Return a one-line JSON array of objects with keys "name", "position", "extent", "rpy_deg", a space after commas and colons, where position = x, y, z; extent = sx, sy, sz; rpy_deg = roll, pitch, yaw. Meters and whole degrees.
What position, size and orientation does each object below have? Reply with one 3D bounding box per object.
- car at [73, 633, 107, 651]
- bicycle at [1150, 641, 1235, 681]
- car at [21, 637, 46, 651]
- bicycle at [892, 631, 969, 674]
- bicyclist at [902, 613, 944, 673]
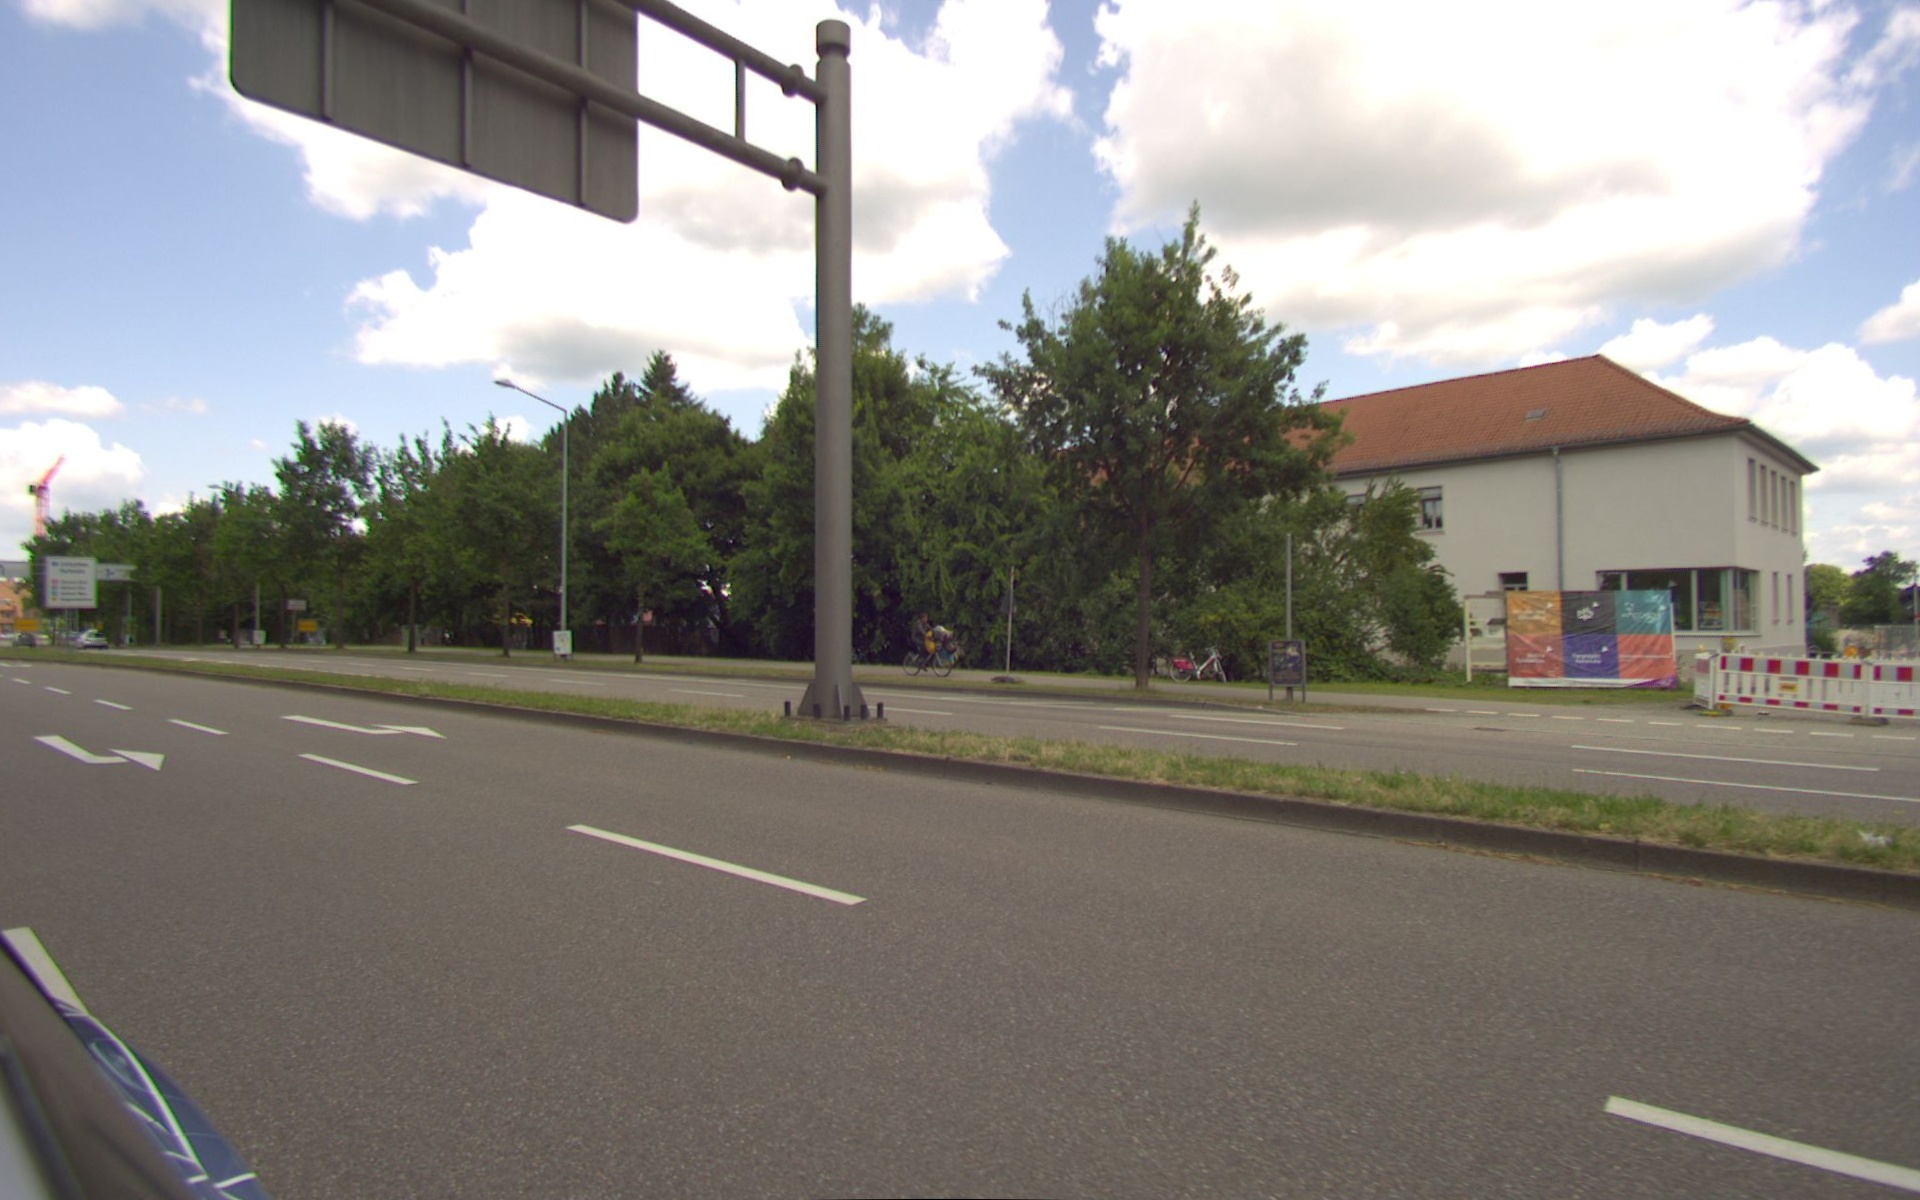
[{"name": "car", "position": [-72.947, 3.497, 84.868], "extent": [3.696, 1.507, 1.691], "rpy_deg": [-2, -2, 42]}, {"name": "bicycle", "position": [6.251, 1.637, 27.242], "extent": [2.117, 1.023, 0.665], "rpy_deg": [1, -2, -4]}, {"name": "car", "position": [-103.894, 4.931, 113.488], "extent": [4.070, 1.507, 1.691], "rpy_deg": [-2, -2, 42]}, {"name": "bicycle", "position": [-0.853, 1.482, 28.748], "extent": [2.254, 1.170, 0.743], "rpy_deg": [-1, -2, 37]}, {"name": "bicyclist", "position": [-1.053, 1.229, 28.913], "extent": [0.979, 1.671, 0.731], "rpy_deg": [-1, -2, 37]}]
